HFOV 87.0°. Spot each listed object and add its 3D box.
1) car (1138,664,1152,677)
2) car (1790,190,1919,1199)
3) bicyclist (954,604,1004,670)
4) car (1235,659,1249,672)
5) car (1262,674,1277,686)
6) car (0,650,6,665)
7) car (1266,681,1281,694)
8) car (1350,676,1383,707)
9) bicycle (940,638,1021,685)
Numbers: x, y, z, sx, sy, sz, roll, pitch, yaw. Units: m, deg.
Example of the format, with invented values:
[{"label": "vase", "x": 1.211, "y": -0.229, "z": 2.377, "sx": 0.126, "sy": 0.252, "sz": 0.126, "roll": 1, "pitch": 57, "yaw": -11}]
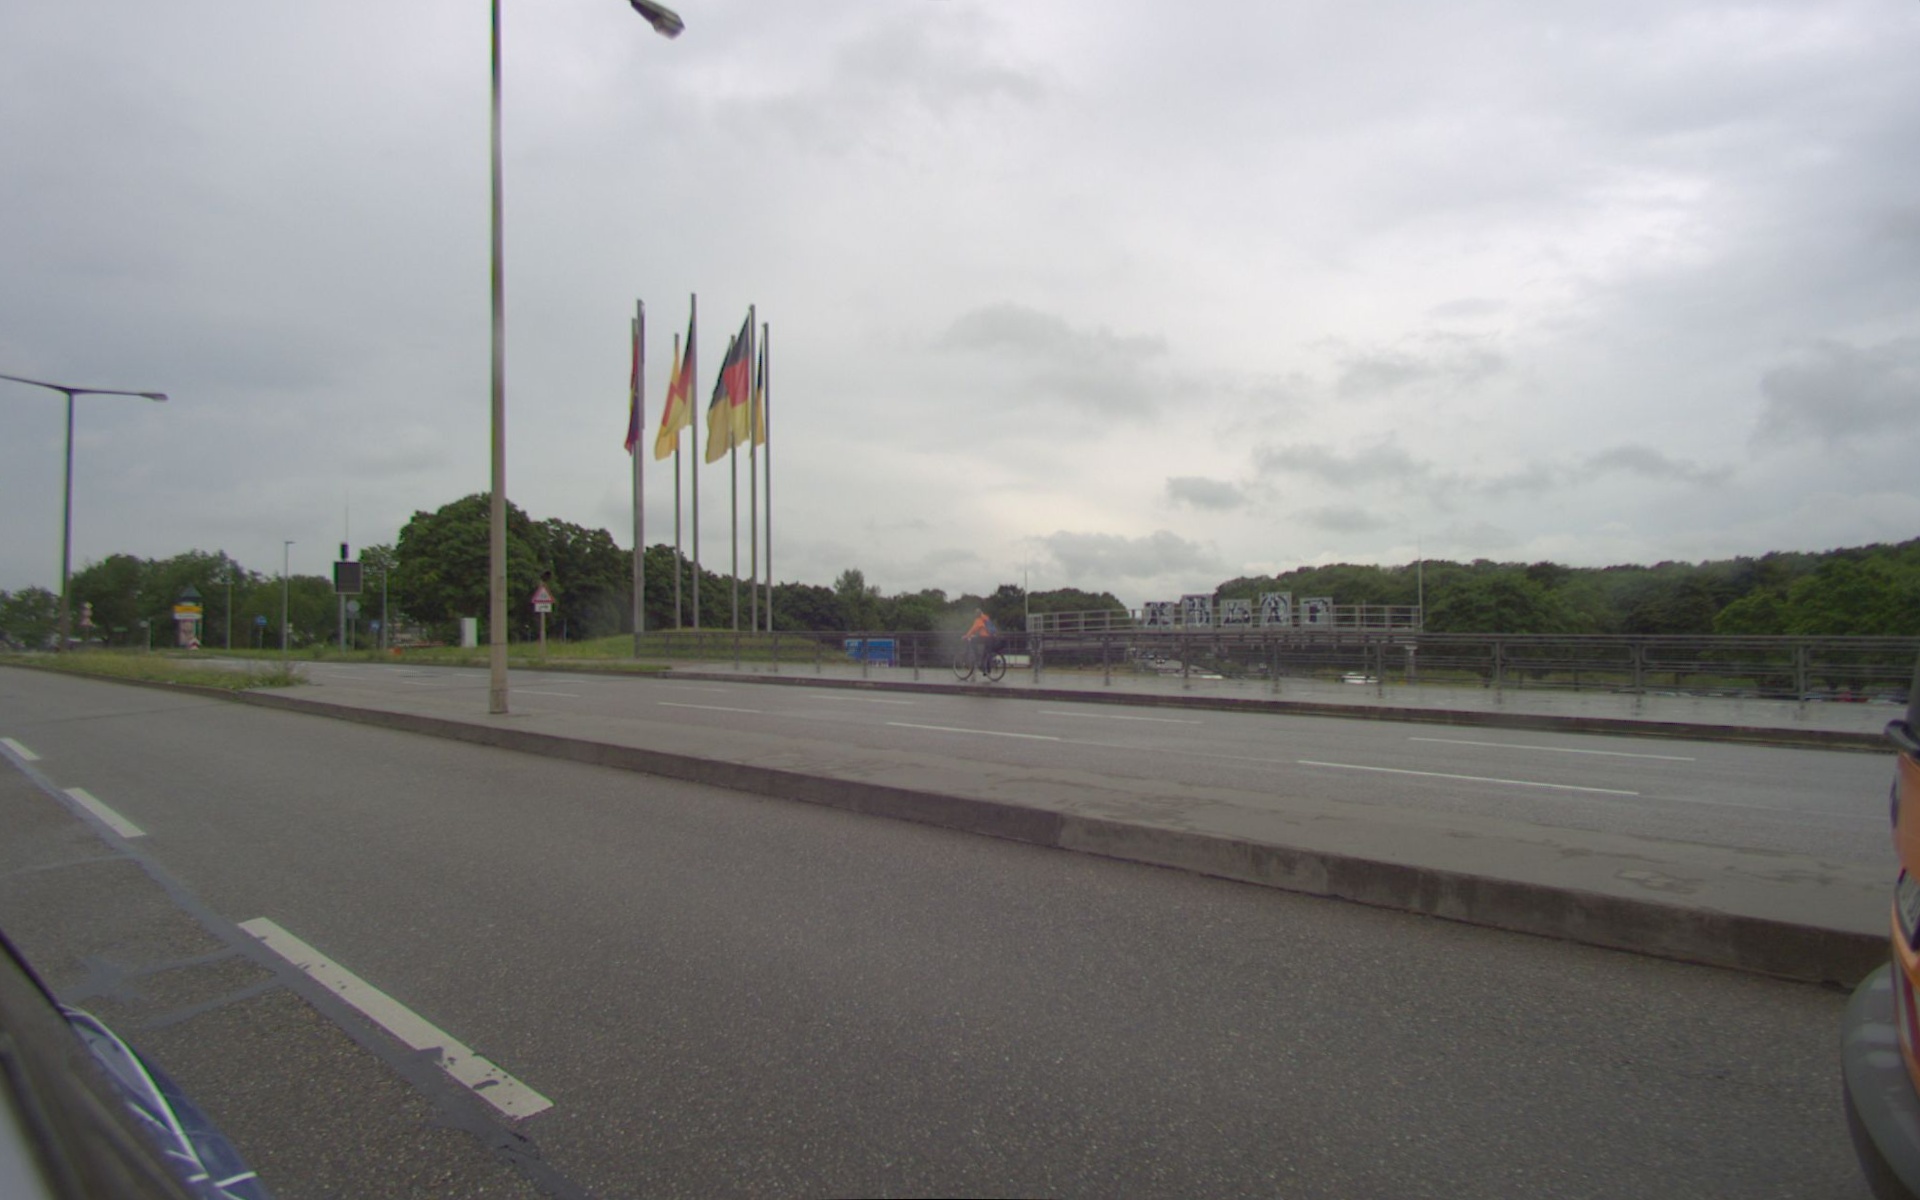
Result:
[{"label": "car", "x": 40.949, "y": 15.603, "z": 224.401, "sx": 2.708, "sy": 2.552, "sz": 5.787, "roll": -2, "pitch": -2, "yaw": 13}, {"label": "car", "x": 3.680, "y": 0.411, "z": 0.629, "sx": 4.847, "sy": 2.034, "sz": 1.716, "roll": 0, "pitch": -1, "yaw": 41}, {"label": "bicyclist", "x": 0.456, "y": 0.870, "z": 24.192, "sx": 1.002, "sy": 1.511, "sz": 0.613, "roll": -1, "pitch": 0, "yaw": 41}, {"label": "car", "x": 62.658, "y": 14.488, "z": 224.875, "sx": 2.708, "sy": 2.552, "sz": 5.787, "roll": -2, "pitch": -2, "yaw": 13}, {"label": "car", "x": 49.478, "y": 12.782, "z": 161.874, "sx": 1.981, "sy": 1.794, "sz": 3.981, "roll": -2, "pitch": -2, "yaw": 15}, {"label": "car", "x": -116.829, "y": 6.912, "z": 122.199, "sx": 4.024, "sy": 1.764, "sz": 1.828, "roll": -2, "pitch": -1, "yaw": 37}, {"label": "car", "x": 48.665, "y": 13.546, "z": 157.142, "sx": 1.981, "sy": 1.794, "sz": 3.981, "roll": -2, "pitch": -2, "yaw": 15}, {"label": "car", "x": 42.584, "y": 9.533, "z": 106.138, "sx": 2.713, "sy": 2.792, "sz": 5.776, "roll": -2, "pitch": -2, "yaw": 18}, {"label": "bicycle", "x": 0.476, "y": 1.440, "z": 24.193, "sx": 2.000, "sy": 1.041, "sz": 0.603, "roll": -1, "pitch": 0, "yaw": 41}]
